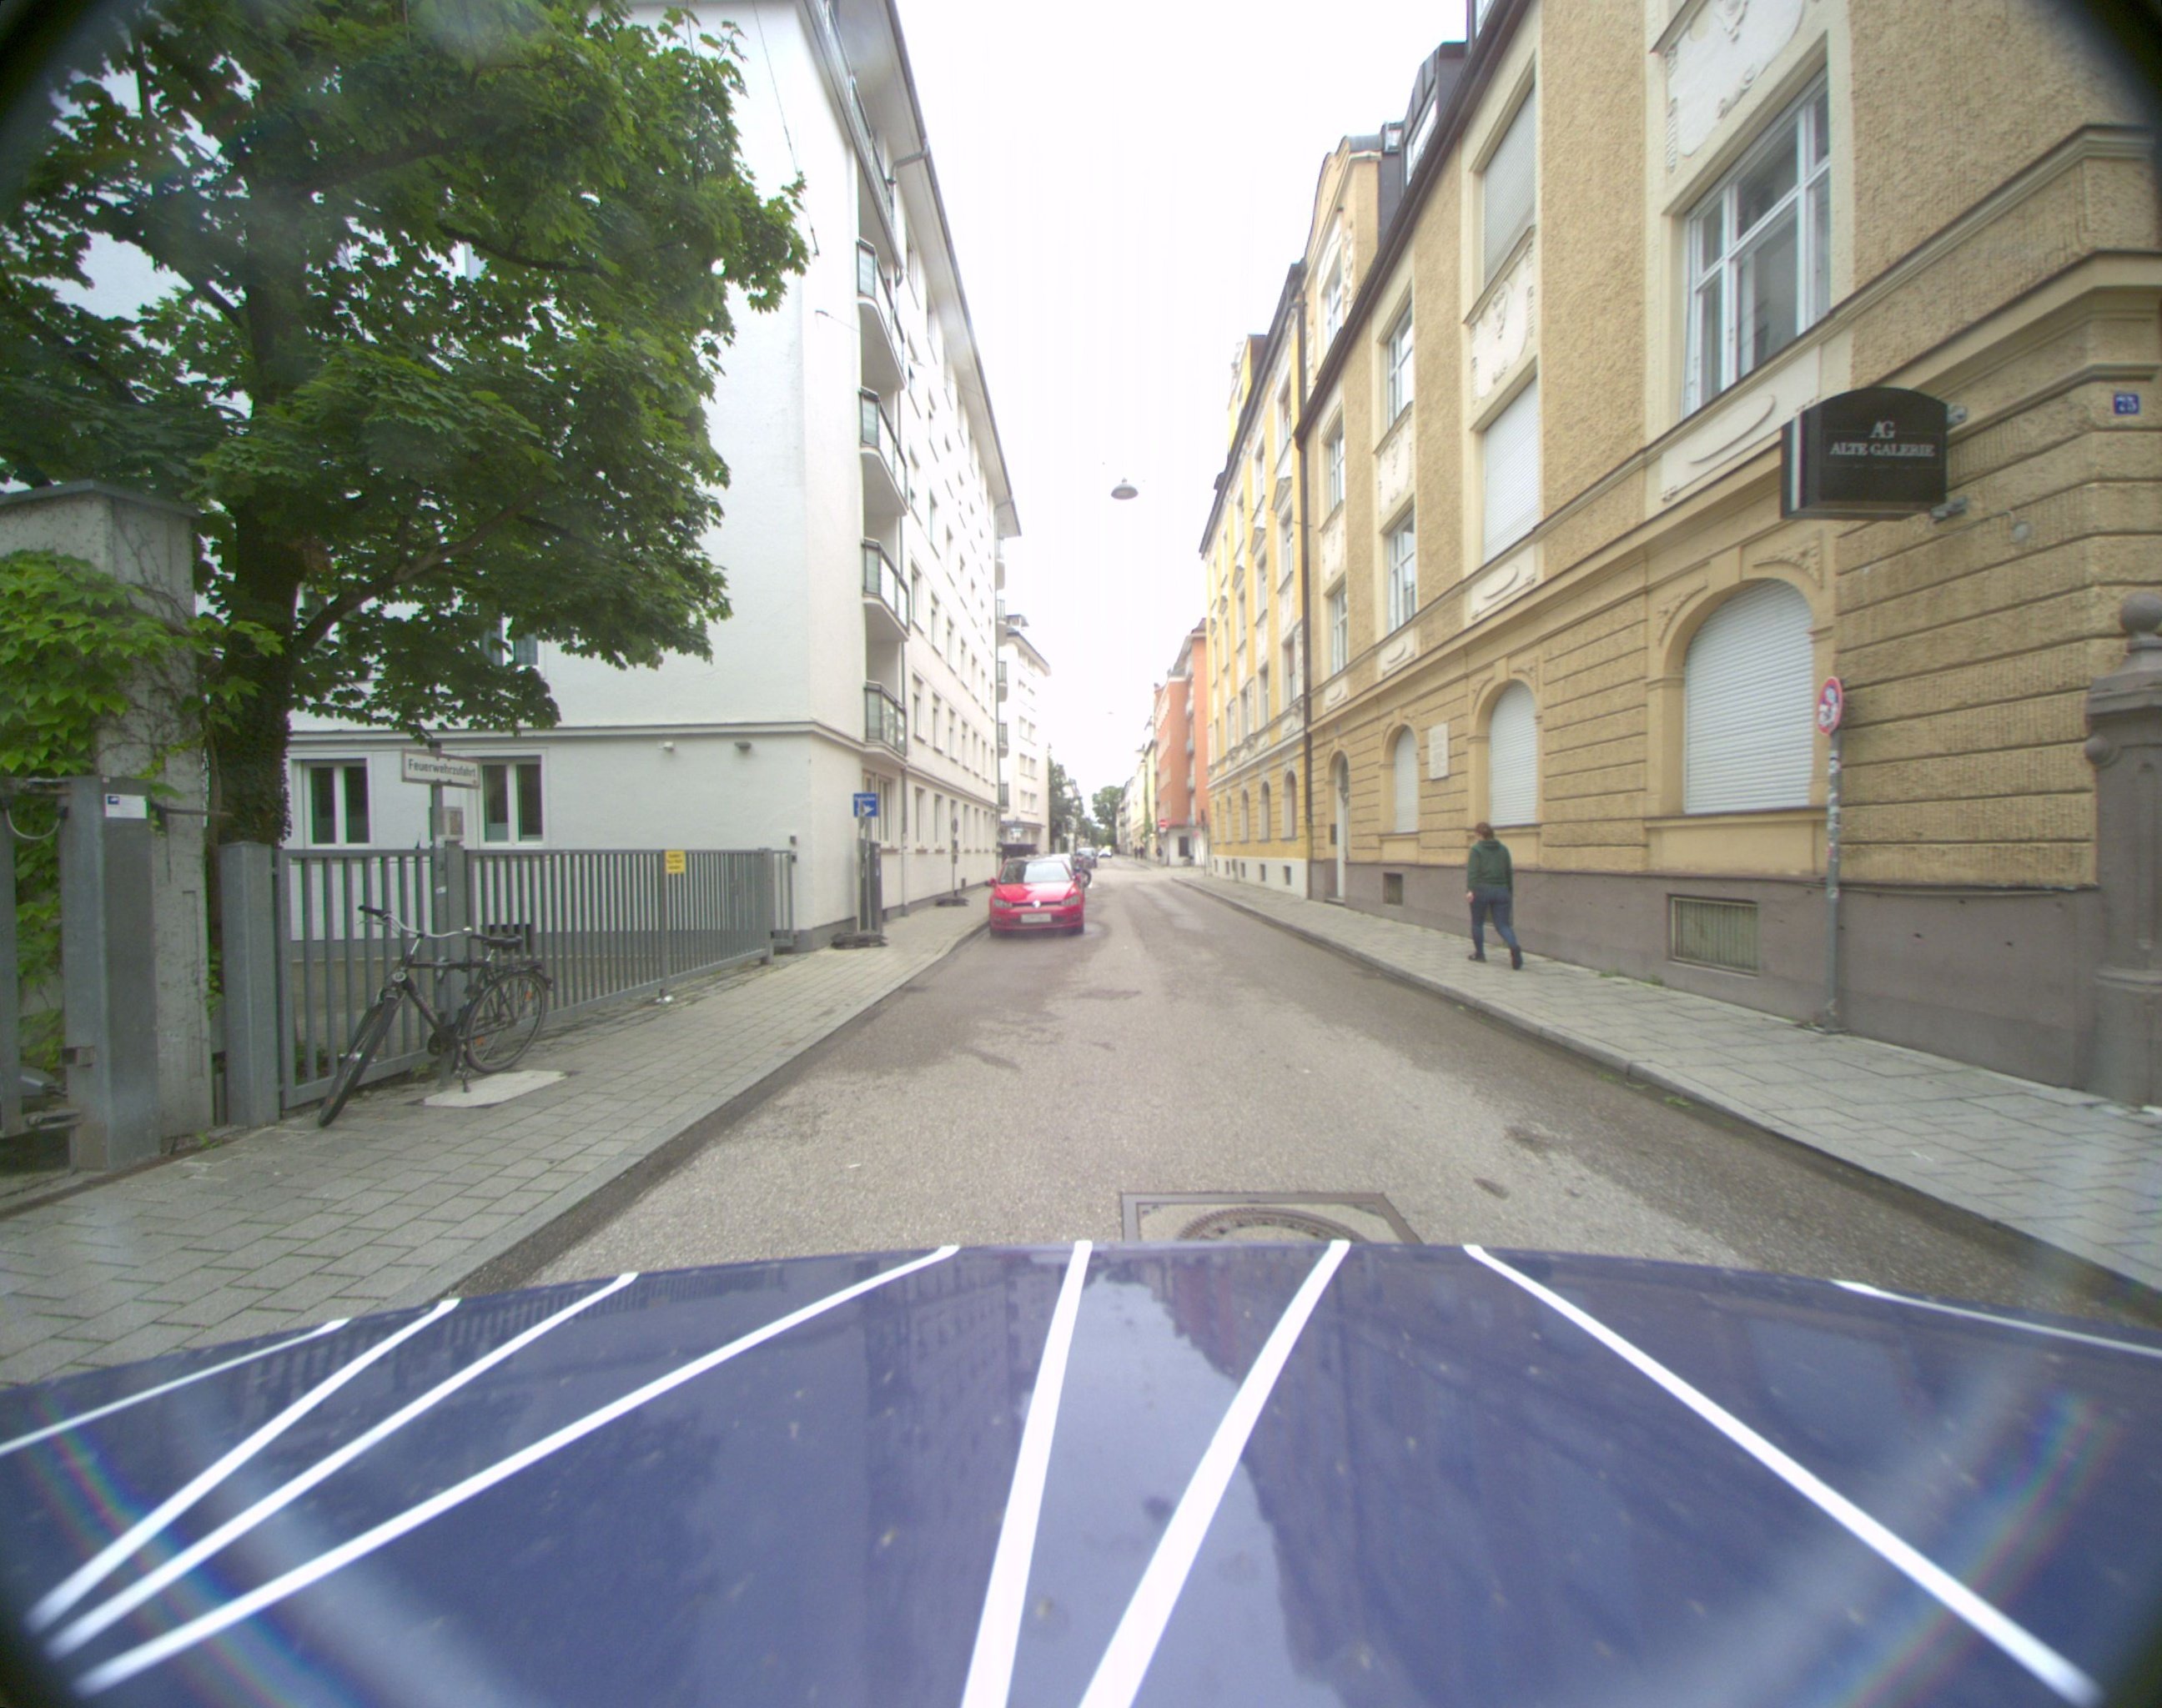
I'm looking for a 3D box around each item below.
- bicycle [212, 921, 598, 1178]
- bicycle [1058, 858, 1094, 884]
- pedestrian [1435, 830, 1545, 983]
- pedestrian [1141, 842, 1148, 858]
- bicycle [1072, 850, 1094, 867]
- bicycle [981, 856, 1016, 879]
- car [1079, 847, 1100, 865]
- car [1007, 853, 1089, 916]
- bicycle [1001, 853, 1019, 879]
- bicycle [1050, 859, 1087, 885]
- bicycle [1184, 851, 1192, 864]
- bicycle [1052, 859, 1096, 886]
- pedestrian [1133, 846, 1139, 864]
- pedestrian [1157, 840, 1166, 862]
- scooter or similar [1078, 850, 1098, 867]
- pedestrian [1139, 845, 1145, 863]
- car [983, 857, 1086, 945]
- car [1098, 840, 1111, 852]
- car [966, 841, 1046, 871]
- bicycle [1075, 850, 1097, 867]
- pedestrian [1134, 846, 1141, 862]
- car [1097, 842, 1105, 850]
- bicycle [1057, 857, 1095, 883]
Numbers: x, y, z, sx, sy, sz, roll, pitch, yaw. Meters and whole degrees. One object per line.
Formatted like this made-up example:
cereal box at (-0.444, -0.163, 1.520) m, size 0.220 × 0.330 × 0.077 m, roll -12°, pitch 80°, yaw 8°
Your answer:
bicycle at (-3.982, 1.061, 4.737) m, size 0.709 × 1.191 × 1.834 m, roll -1°, pitch -2°, yaw 2°
bicycle at (-0.220, 0.713, 32.335) m, size 1.441 × 1.038 × 0.360 m, roll 2°, pitch 2°, yaw 10°
pedestrian at (4.759, 0.583, 8.904) m, size 0.714 × 1.656 × 0.929 m, roll -4°, pitch 1°, yaw 1°
pedestrian at (7.124, -0.495, 85.363) m, size 0.699 × 1.783 × 0.763 m, roll 0°, pitch 1°, yaw 2°
bicycle at (0.162, 0.309, 56.104) m, size 1.607 × 1.207 × 0.529 m, roll 0°, pitch 1°, yaw 4°
bicycle at (-3.793, 0.611, 34.946) m, size 1.502 × 1.038 × 0.398 m, roll 1°, pitch 2°, yaw -17°
car at (0.742, 0.139, 61.915) m, size 1.653 × 1.391 × 4.000 m, roll 0°, pitch 1°, yaw 2°
car at (-0.781, 0.750, 20.867) m, size 1.799 × 1.430 × 4.383 m, roll -2°, pitch 1°, yaw 3°
bicycle at (-3.424, 0.551, 36.786) m, size 0.399 × 1.198 × 1.502 m, roll 1°, pitch 2°, yaw -23°
bicycle at (-0.519, 0.730, 31.091) m, size 1.438 × 1.038 × 0.330 m, roll 2°, pitch 2°, yaw 10°
bicycle at (7.913, 0.223, 56.081) m, size 0.391 × 0.932 × 1.540 m, roll 0°, pitch 1°, yaw 2°
bicycle at (-0.283, 0.738, 30.619) m, size 1.707 × 1.038 × 0.360 m, roll 1°, pitch 2°, yaw 2°
pedestrian at (6.192, 0.138, 85.289) m, size 0.635 × 2.002 × 0.788 m, roll 0°, pitch 1°, yaw 2°
pedestrian at (6.213, -0.212, 58.911) m, size 0.613 × 1.684 × 0.566 m, roll 0°, pitch 1°, yaw 1°
scooter or similar at (0.500, 0.342, 54.097) m, size 1.340 × 1.207 × 0.344 m, roll 0°, pitch 1°, yaw 4°
pedestrian at (6.859, 0.013, 85.418) m, size 0.635 × 2.002 × 0.788 m, roll 0°, pitch 1°, yaw 2°
car at (-0.979, 0.838, 15.589) m, size 1.766 × 1.438 × 4.296 m, roll -2°, pitch 1°, yaw -4°
car at (3.547, -1.177, 115.607) m, size 1.929 × 1.795 × 4.444 m, roll -1°, pitch 1°, yaw 1°
car at (-4.732, 0.130, 48.253) m, size 4.675 × 1.880 × 1.935 m, roll 0°, pitch 0°, yaw 10°
bicycle at (0.380, 0.318, 55.527) m, size 1.607 × 1.207 × 0.529 m, roll 0°, pitch 1°, yaw 4°
pedestrian at (6.361, -0.008, 85.090) m, size 0.726 × 1.783 × 0.830 m, roll 0°, pitch 1°, yaw 2°
car at (5.440, -2.069, 204.098) m, size 1.998 × 2.002 × 4.646 m, roll -1°, pitch 1°, yaw 1°
bicycle at (-0.229, 0.704, 34.006) m, size 1.699 × 1.154 × 0.378 m, roll -1°, pitch 1°, yaw 1°
